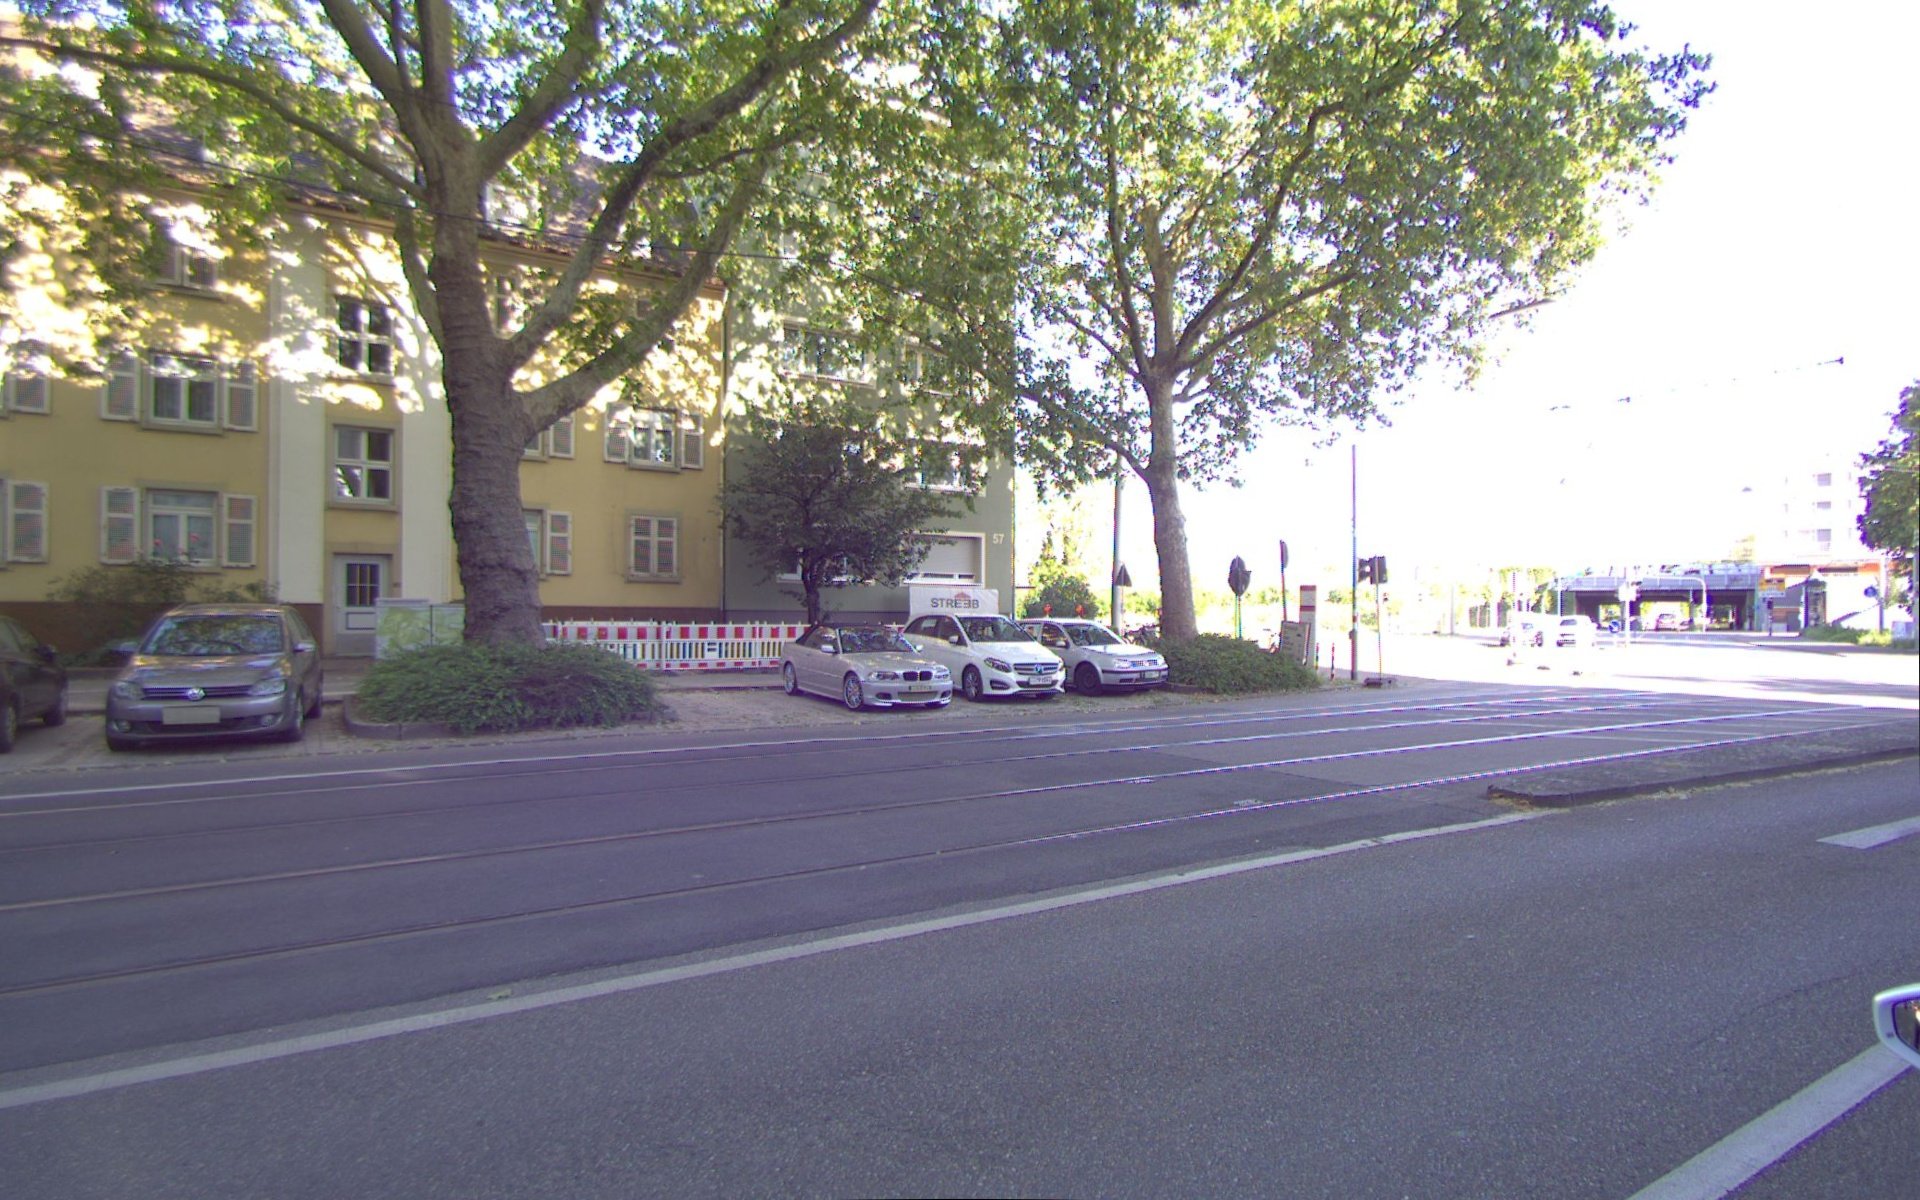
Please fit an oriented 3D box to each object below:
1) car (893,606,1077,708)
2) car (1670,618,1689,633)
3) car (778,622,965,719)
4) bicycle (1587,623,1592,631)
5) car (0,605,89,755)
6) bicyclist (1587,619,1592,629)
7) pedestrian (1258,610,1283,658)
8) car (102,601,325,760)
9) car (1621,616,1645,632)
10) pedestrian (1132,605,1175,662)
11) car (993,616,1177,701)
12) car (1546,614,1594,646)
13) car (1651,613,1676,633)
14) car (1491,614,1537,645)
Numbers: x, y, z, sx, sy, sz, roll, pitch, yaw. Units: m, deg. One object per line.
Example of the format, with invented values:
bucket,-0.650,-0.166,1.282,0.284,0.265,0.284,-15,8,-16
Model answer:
car,0.356,0.986,19.155,1.651,1.669,3.949,1,0,-31
car,83.516,2.985,116.672,1.731,1.706,3.729,2,0,36
car,-1.644,1.112,17.310,1.651,1.370,3.949,1,0,-31
bicycle,86.005,3.663,137.195,0.518,0.995,1.573,0,-1,32
car,-11.460,0.836,11.386,1.652,1.518,3.778,1,0,-29
bicyclist,86.019,3.273,137.226,0.518,1.239,0.528,0,0,32
pedestrian,11.291,1.219,36.556,0.759,1.683,0.955,2,0,21
car,-8.994,0.835,12.417,1.652,1.602,3.953,1,0,-29
car,69.422,2.452,103.569,1.860,1.606,3.823,2,0,37
pedestrian,5.797,1.000,30.143,0.919,1.669,0.841,2,0,-30
car,2.446,1.113,20.530,1.651,1.473,3.949,1,0,-31
car,33.529,1.633,55.175,1.860,1.606,3.823,2,0,37
car,67.779,2.189,96.769,1.883,1.906,4.830,0,-1,35
car,31.175,1.656,56.484,1.774,1.684,4.342,0,-1,35
